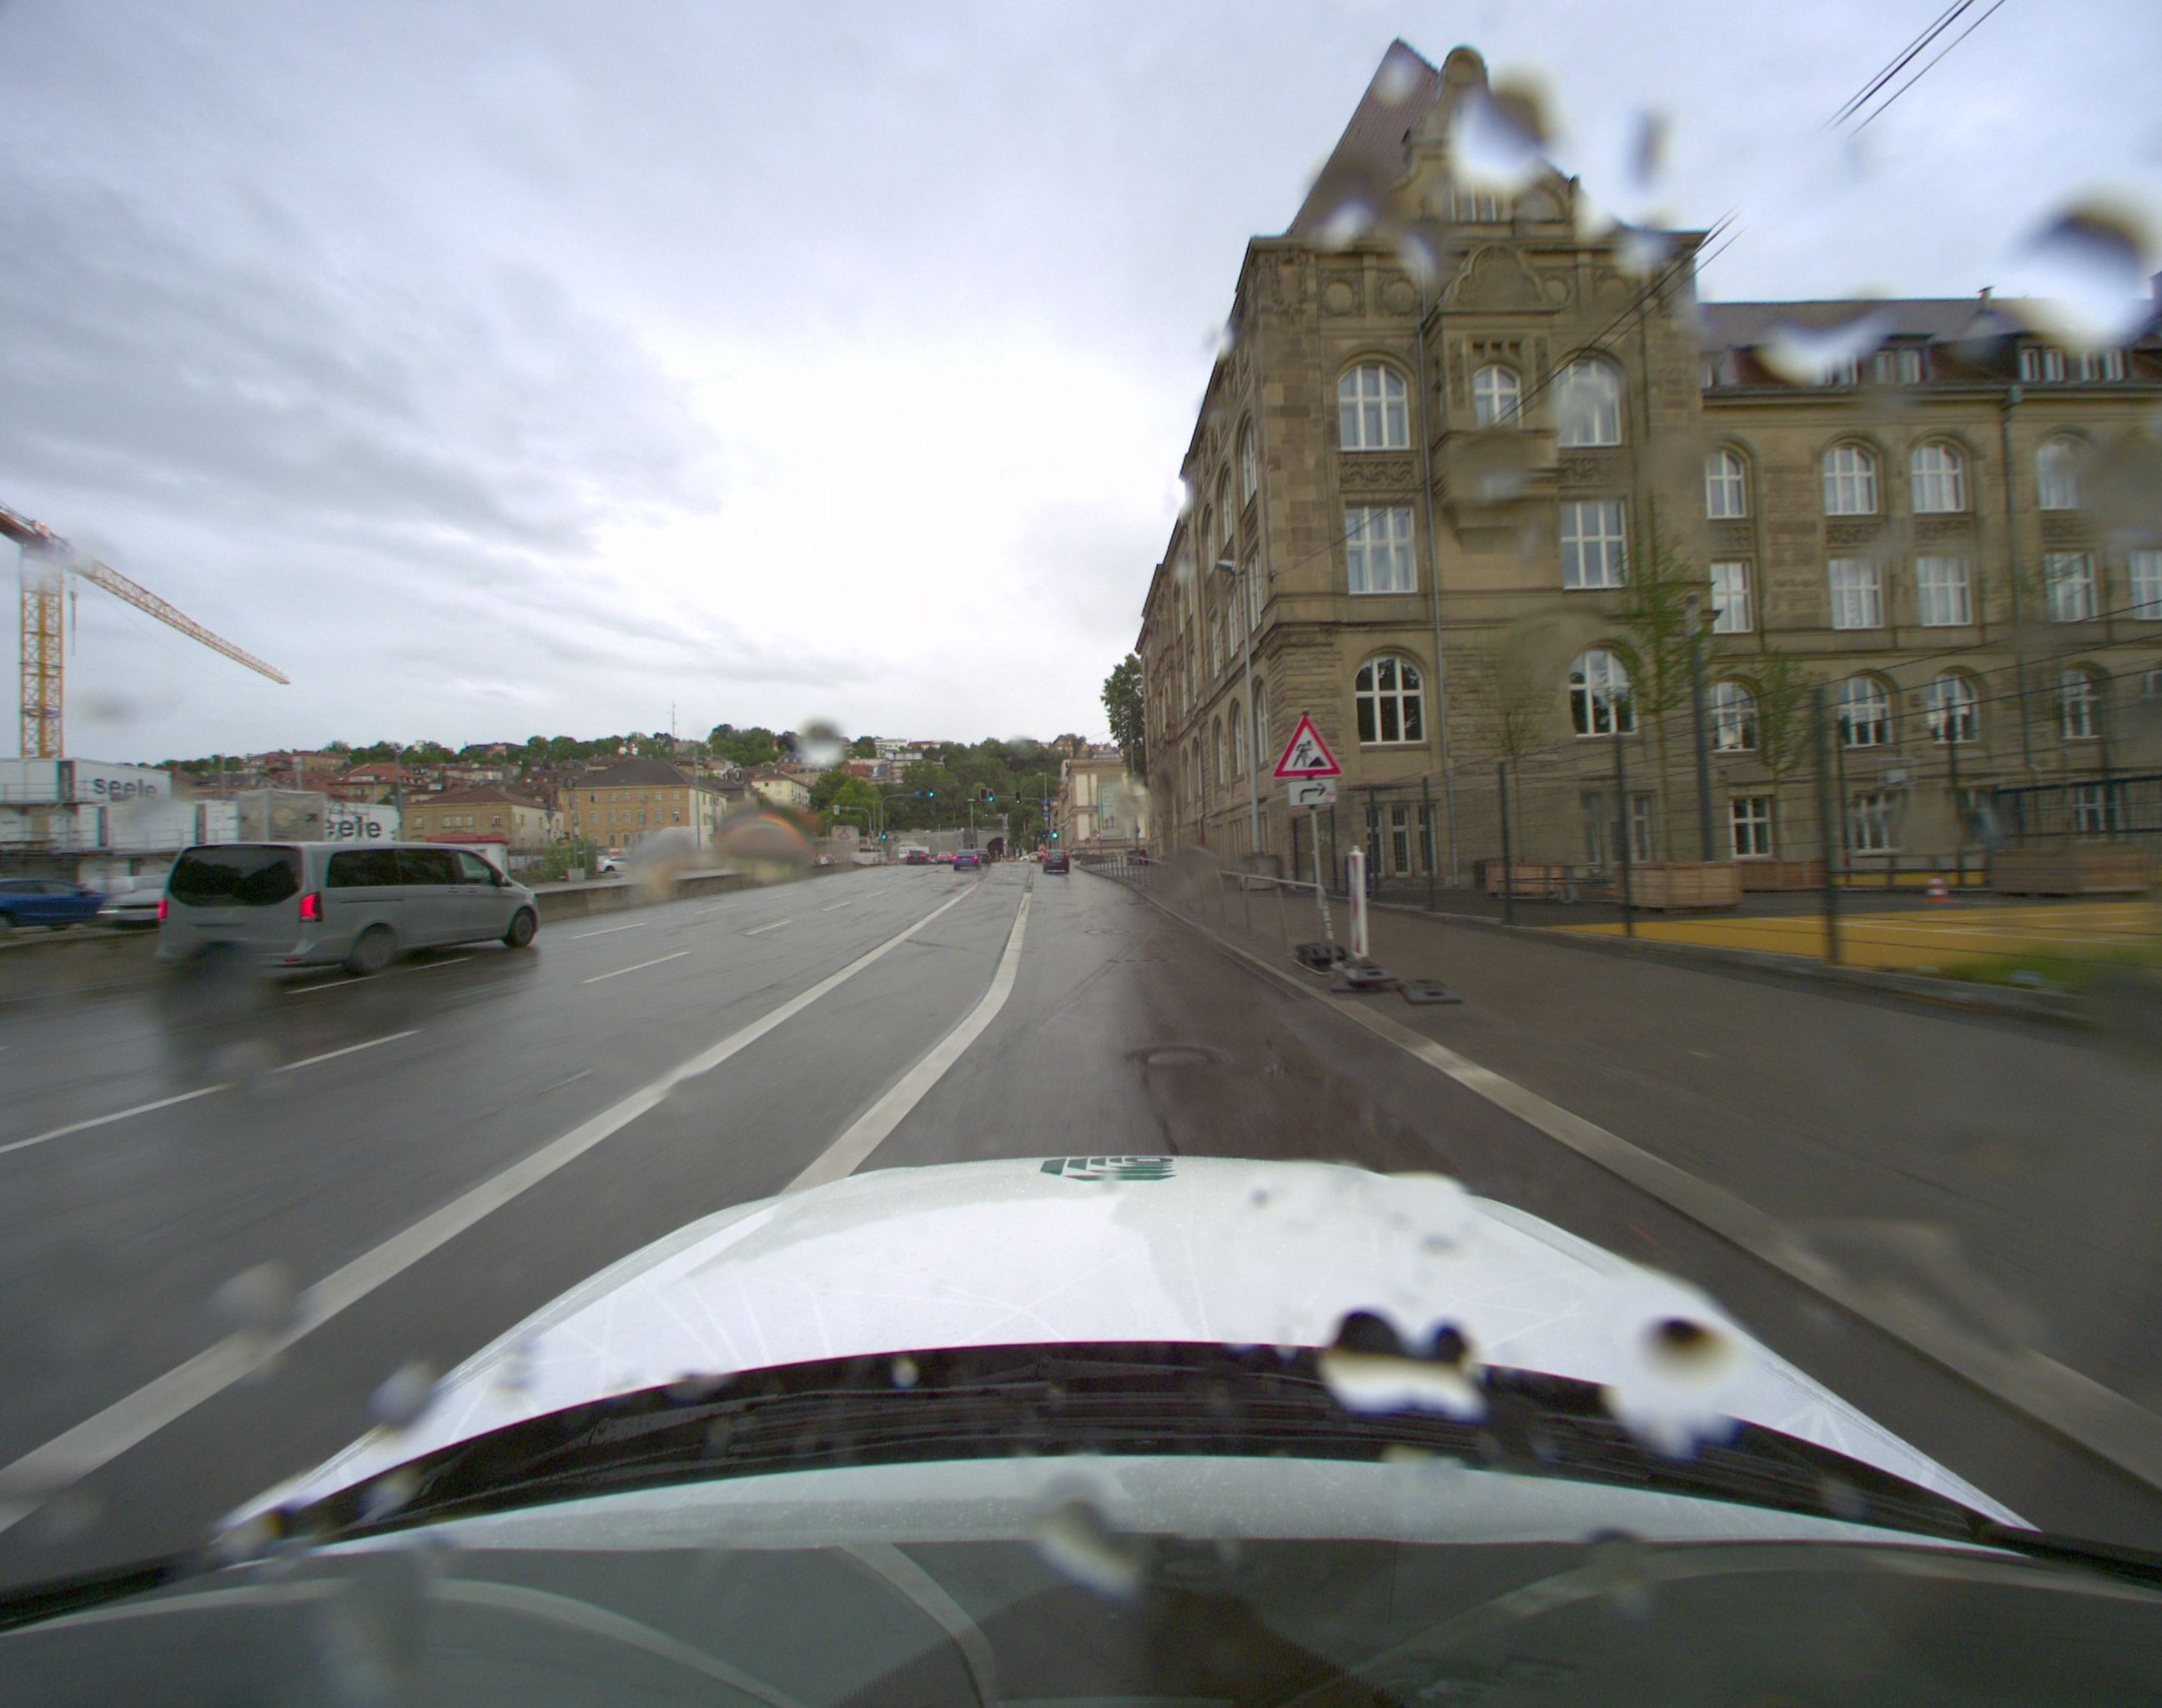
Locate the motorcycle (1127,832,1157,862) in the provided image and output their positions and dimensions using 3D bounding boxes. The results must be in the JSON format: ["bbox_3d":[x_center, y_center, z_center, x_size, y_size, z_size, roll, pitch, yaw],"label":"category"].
[{"bbox_3d":[4.343,-0.505,58.209,1.790,2.013,3.812,-2,0,-1],"label":"motorcycle"}]

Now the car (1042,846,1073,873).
[{"bbox_3d":[-1.538,0.399,52.463,1.808,1.527,3.994,-3,-2,-4],"label":"car"}]

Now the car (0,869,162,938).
[{"bbox_3d":[-27.906,1.316,21.807,1.987,1.621,3.999,-2,1,-1],"label":"car"}]

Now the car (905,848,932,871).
[{"bbox_3d":[-15.573,0.588,78.241,2.013,2.014,3.993,-3,-2,-4],"label":"car"}]

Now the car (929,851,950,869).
[{"bbox_3d":[-18.134,0.788,104.234,1.988,2.014,3.996,-3,-2,-2],"label":"car"}]

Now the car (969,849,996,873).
[{"bbox_3d":[-8.764,0.655,72.610,1.769,2.014,4.001,-3,-2,1],"label":"car"}]

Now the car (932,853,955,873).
[{"bbox_3d":[-15.112,0.986,89.822,2.048,2.014,3.992,-3,-2,-5],"label":"car"}]

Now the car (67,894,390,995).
[{"bbox_3d":[-18.642,1.859,18.318,1.991,1.756,5.288,-3,-2,-5],"label":"car"}]

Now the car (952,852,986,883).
[{"bbox_3d":[-8.014,1.009,58.710,2.101,2.051,3.993,-3,-2,-4],"label":"car"}]

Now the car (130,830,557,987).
[{"bbox_3d":[-10.685,0.712,12.601,1.990,1.856,5.349,-1,-1,-4],"label":"car"}]
